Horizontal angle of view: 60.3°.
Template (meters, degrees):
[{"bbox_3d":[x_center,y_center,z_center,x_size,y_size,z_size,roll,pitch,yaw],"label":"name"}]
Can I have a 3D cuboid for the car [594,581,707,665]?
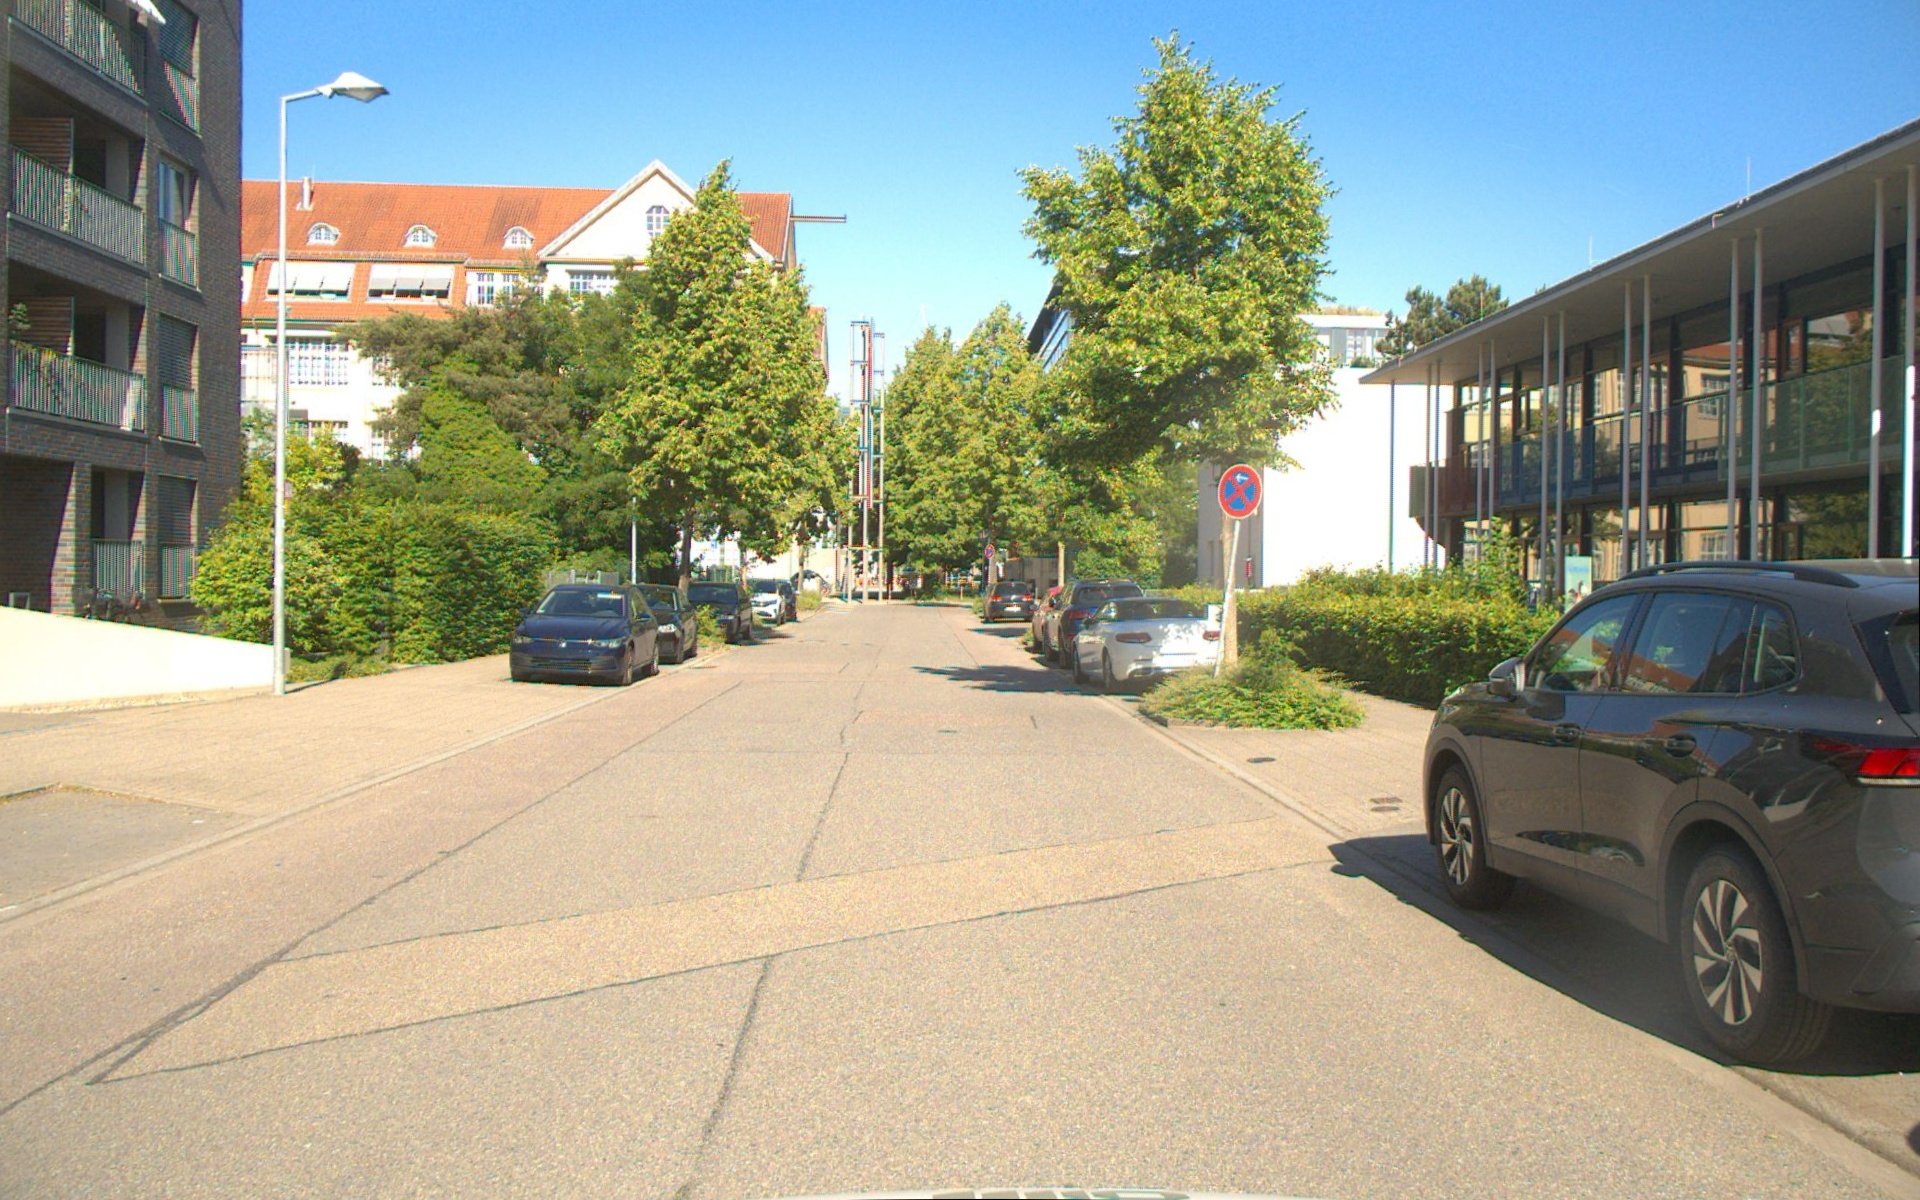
[{"bbox_3d":[-5.940,0.410,32.082,1.597,1.527,3.576,1,0,-2],"label":"car"}]

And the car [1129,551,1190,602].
[{"bbox_3d":[8.221,-0.954,68.437,1.953,2.049,3.999,0,0,-2],"label":"car"}]

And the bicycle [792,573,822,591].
[{"bbox_3d":[-7.353,-0.880,79.509,1.439,0.857,0.335,1,1,-6],"label":"bicycle"}]

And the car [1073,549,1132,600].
[{"bbox_3d":[5.868,-1.040,68.367,1.983,2.049,3.999,0,0,-2],"label":"car"}]

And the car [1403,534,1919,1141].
[{"bbox_3d":[3.340,0.621,6.791,1.691,1.681,4.324,-1,0,-2],"label":"car"}]

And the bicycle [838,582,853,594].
[{"bbox_3d":[-6.872,-0.736,99.496,0.370,0.695,1.065,0,2,-38],"label":"bicycle"}]

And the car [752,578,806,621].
[{"bbox_3d":[-6.558,-0.031,60.319,1.666,1.496,3.460,0,0,-2],"label":"car"}]

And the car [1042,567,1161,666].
[{"bbox_3d":[2.700,0.284,32.407,1.784,1.748,4.118,-2,0,-2],"label":"car"}]

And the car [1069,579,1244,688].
[{"bbox_3d":[2.891,0.472,25.236,1.794,1.447,4.229,-2,0,-5],"label":"car"}]

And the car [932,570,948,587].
[{"bbox_3d":[-2.612,-2.760,212.015,1.953,2.048,4.000,1,1,-1],"label":"car"}]

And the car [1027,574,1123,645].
[{"bbox_3d":[2.619,0.216,38.355,1.797,1.542,3.879,1,0,-2],"label":"car"}]

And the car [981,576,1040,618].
[{"bbox_3d":[1.844,-0.134,61.693,1.953,1.512,3.999,0,0,-2],"label":"car"}]

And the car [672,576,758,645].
[{"bbox_3d":[-6.113,0.247,41.598,1.660,1.633,3.941,1,0,-2],"label":"car"}]

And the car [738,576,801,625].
[{"bbox_3d":[-6.262,-0.006,54.720,1.741,1.557,3.999,0,0,-2],"label":"car"}]

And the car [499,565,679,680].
[{"bbox_3d":[-5.661,0.324,25.717,1.725,1.554,4.001,3,0,2],"label":"car"}]

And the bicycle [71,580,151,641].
[{"bbox_3d":[-12.706,0.143,24.801,0.248,0.852,1.775,1,1,1],"label":"bicycle"}]

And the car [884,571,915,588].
[{"bbox_3d":[-7.667,-2.609,210.501,3.906,2.048,2.000,1,1,-1],"label":"car"}]
